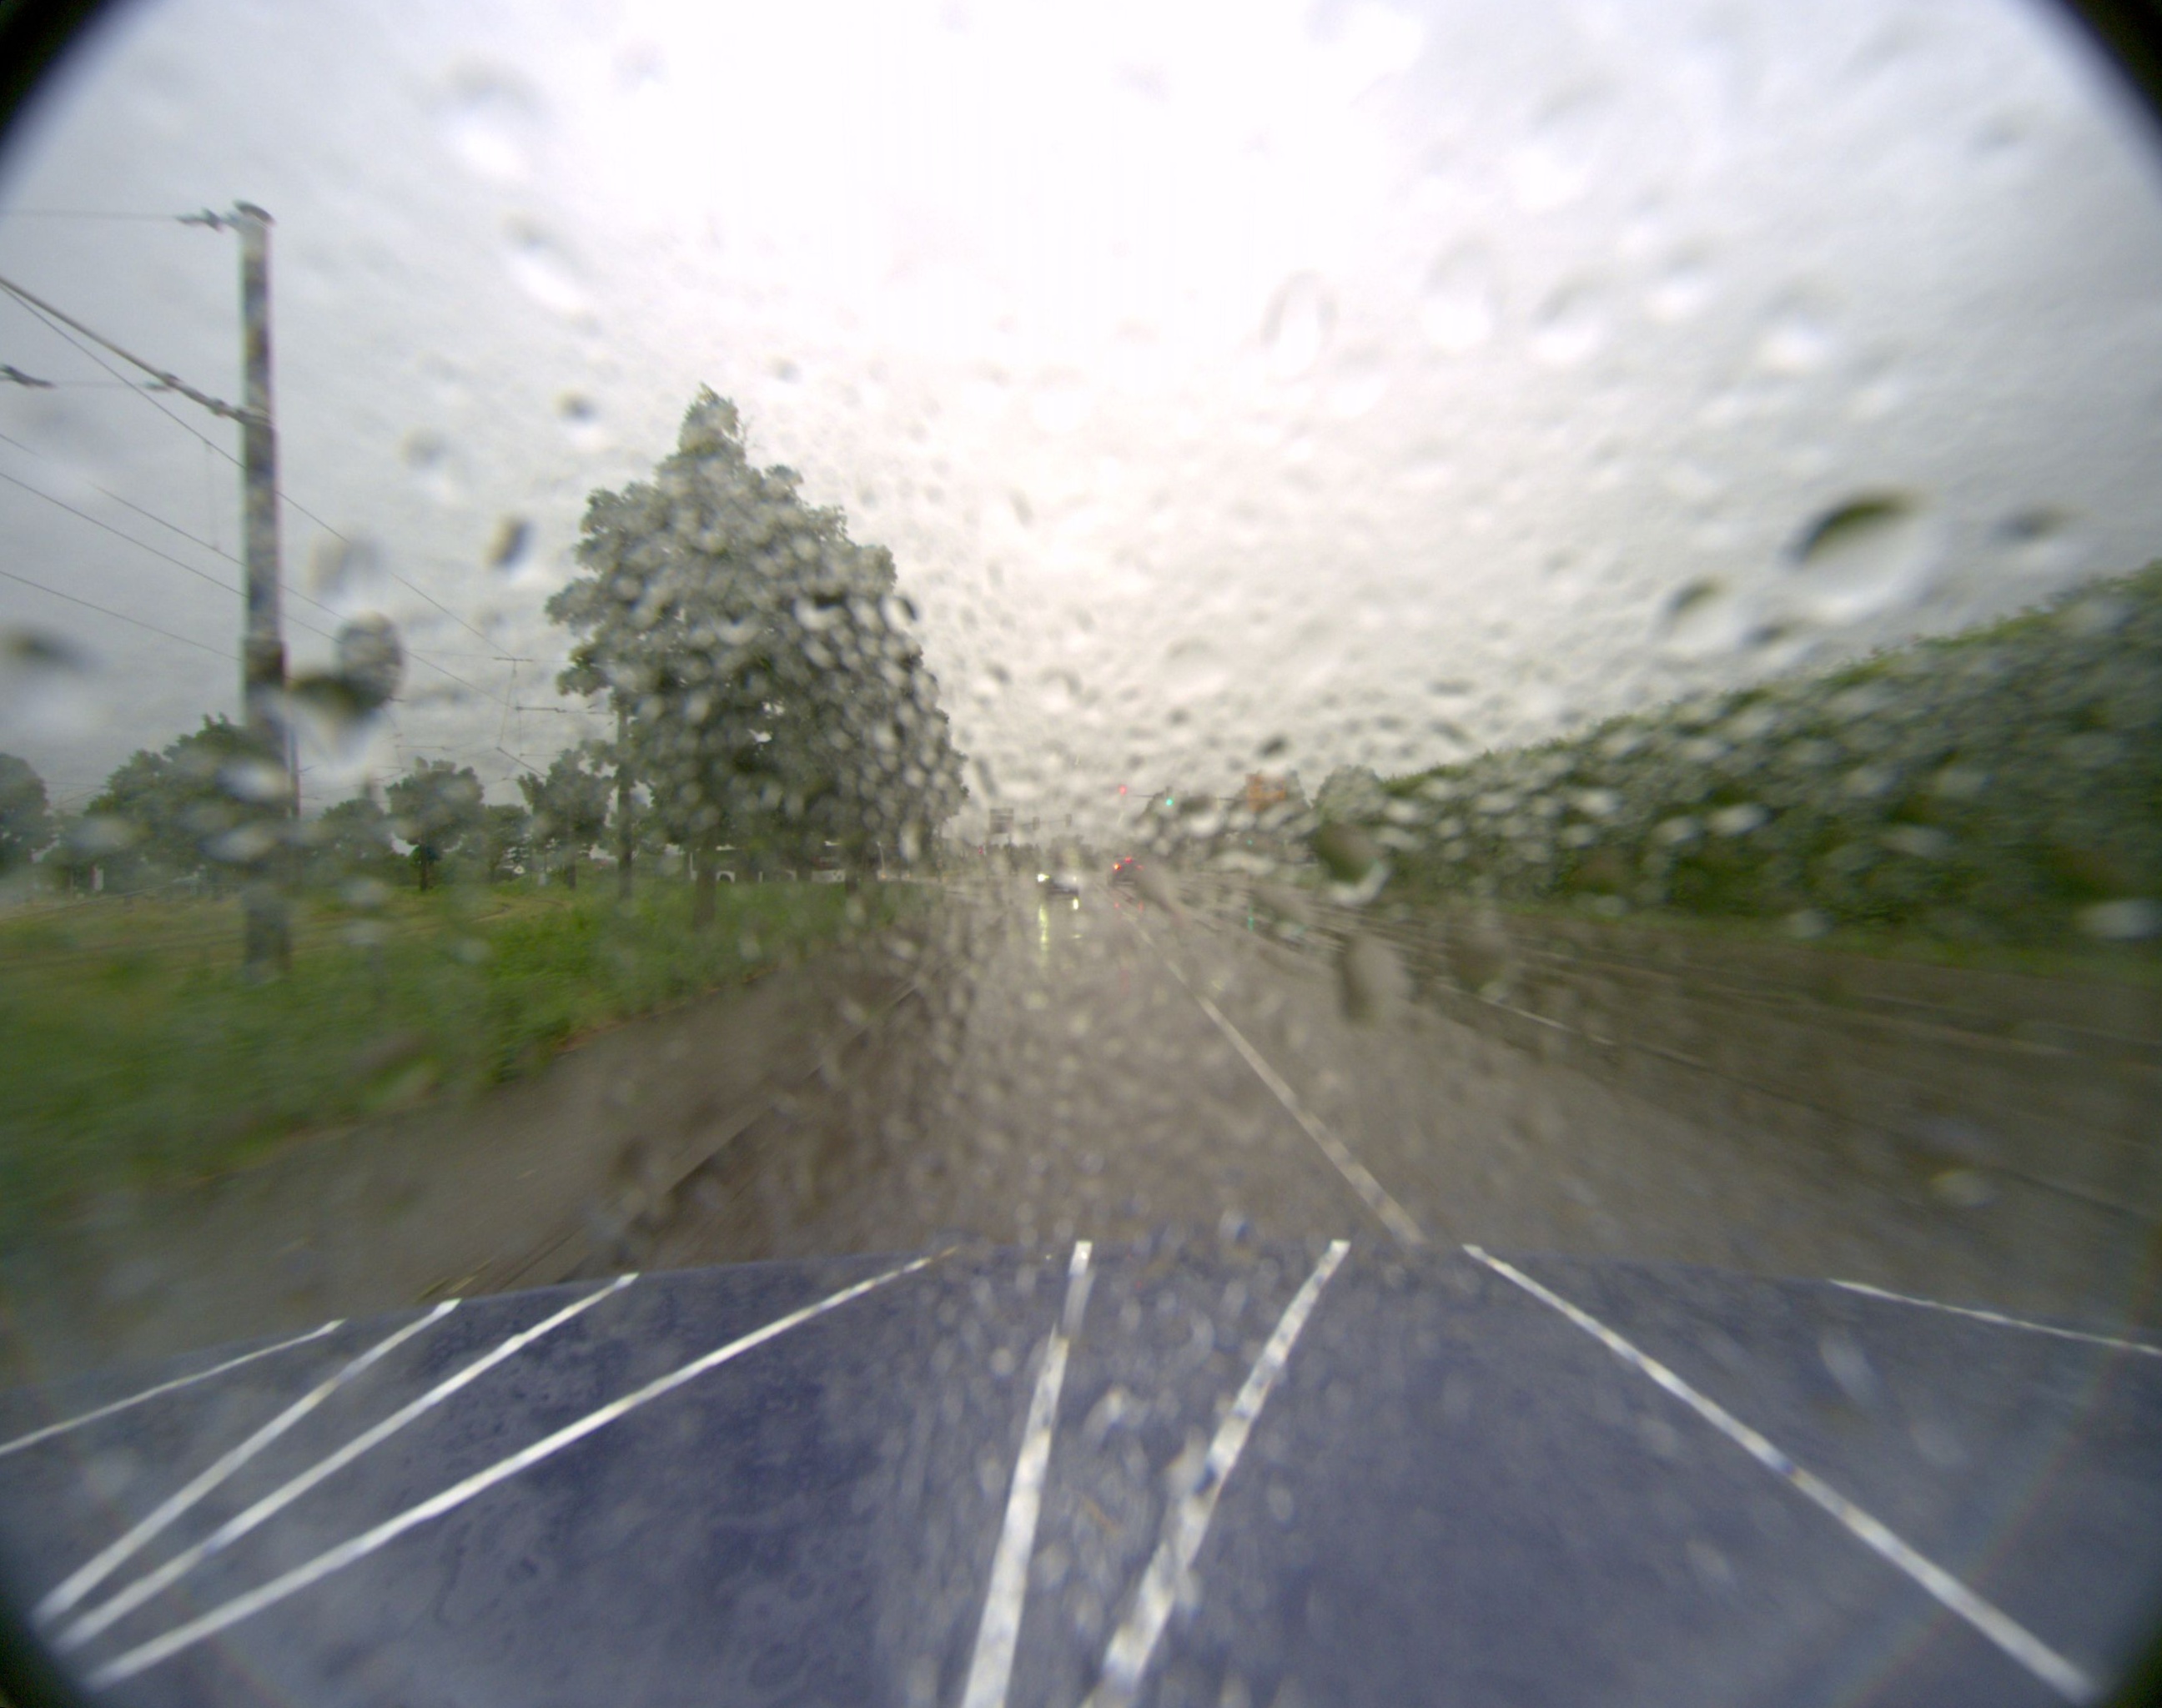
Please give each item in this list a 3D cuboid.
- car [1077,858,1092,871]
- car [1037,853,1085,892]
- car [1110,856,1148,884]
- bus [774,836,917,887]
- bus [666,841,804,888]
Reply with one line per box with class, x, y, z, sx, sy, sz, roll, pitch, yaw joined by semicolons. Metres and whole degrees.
car;0.553;1.794;128.209;1.919;2.002;4.002;-2;0;8
car;-0.862;0.782;34.394;1.998;1.622;4.000;-2;0;0
car;2.669;0.867;42.982;1.767;1.528;3.875;0;0;-2
bus;-15.485;0.550;49.675;9.968;3.059;2.683;-1;1;29
bus;-24.631;0.785;54.004;9.971;3.059;2.682;-1;1;22
